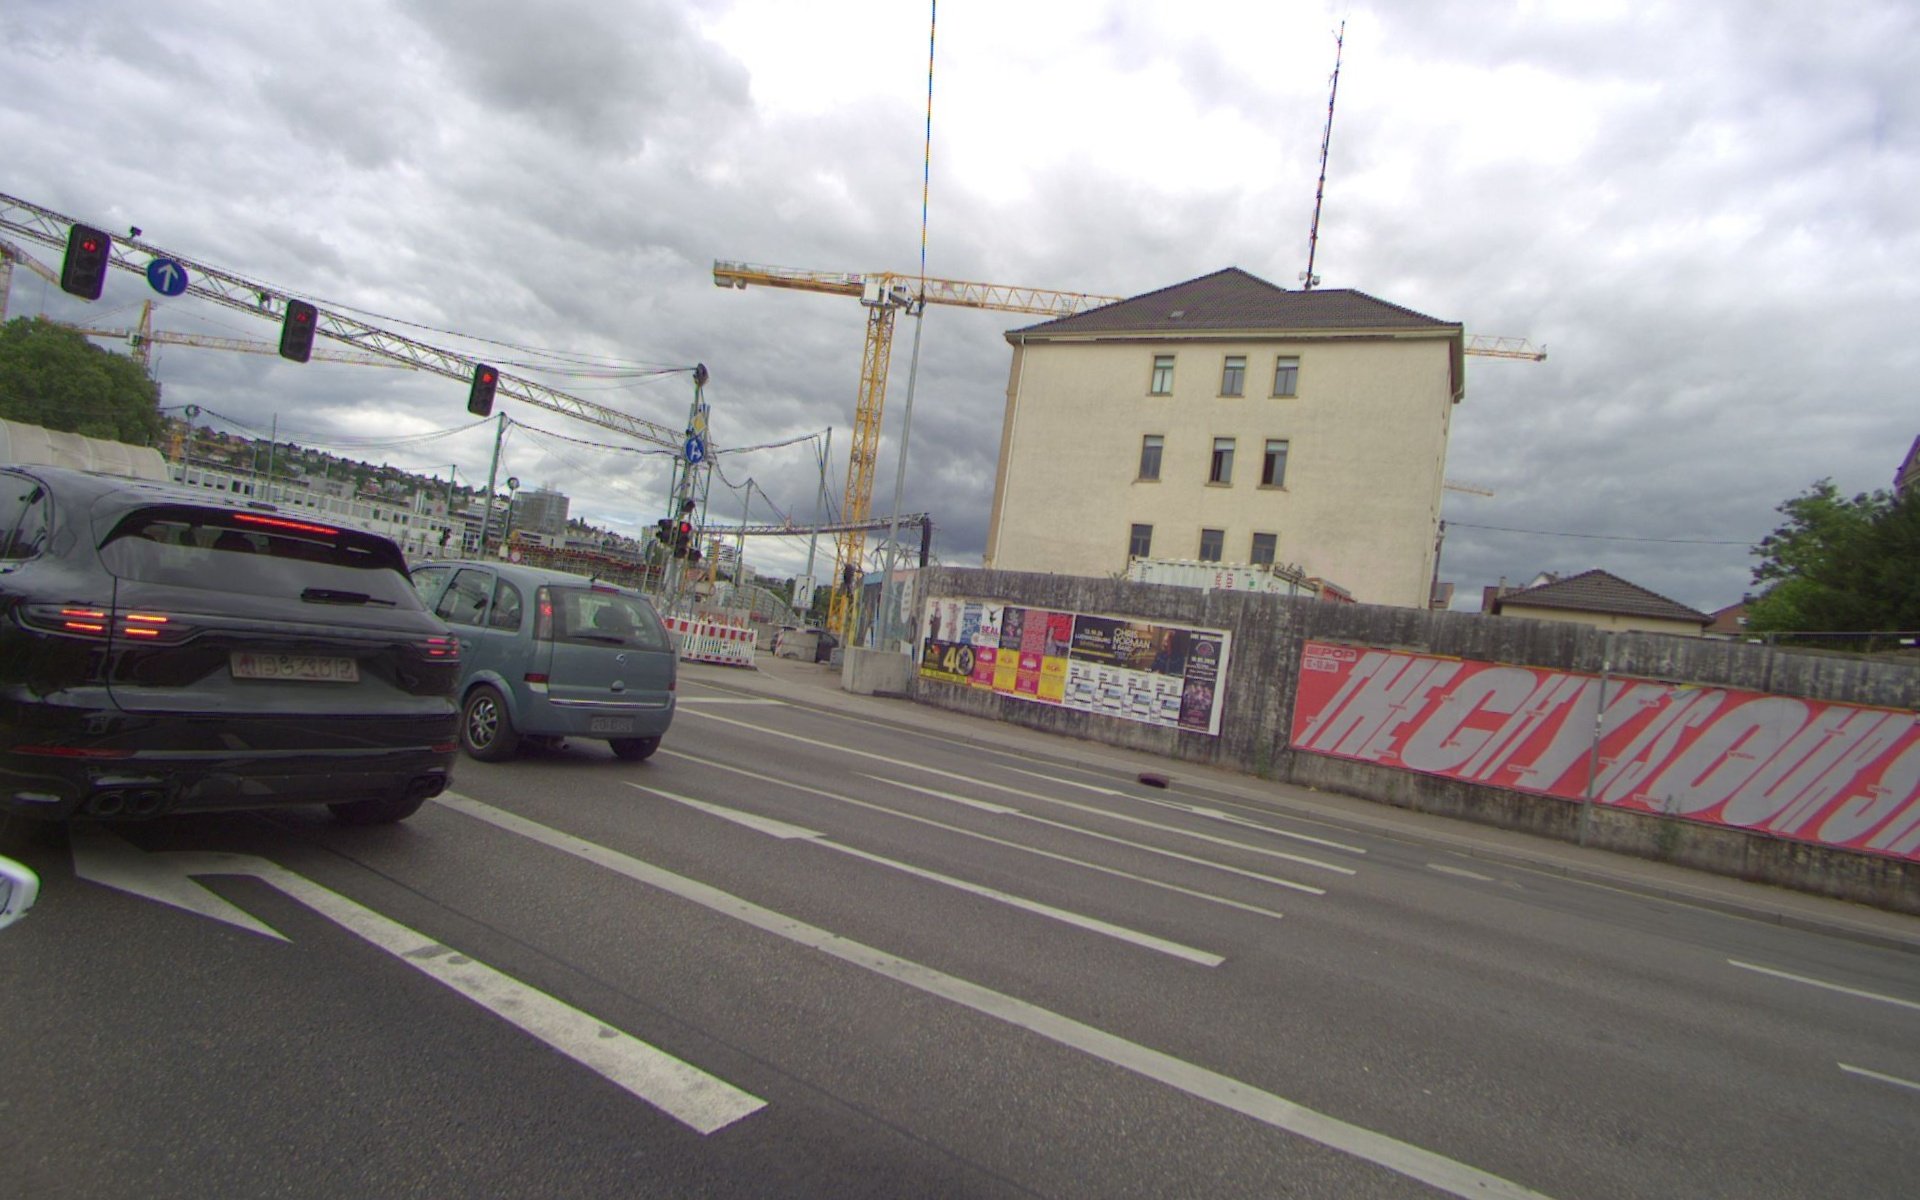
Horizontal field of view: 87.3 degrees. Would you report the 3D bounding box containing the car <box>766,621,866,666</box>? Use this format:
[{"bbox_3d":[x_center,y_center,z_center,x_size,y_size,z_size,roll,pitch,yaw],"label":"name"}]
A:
[{"bbox_3d":[-6.312,1.941,44.325,1.970,1.436,3.990,7,-3,38],"label":"car"}]

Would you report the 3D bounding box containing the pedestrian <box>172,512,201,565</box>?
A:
[{"bbox_3d":[-30.963,-2.465,40.265,0.648,2.037,0.513,8,-1,-35],"label":"pedestrian"}]

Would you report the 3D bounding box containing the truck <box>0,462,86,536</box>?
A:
[{"bbox_3d":[-63.918,-7.136,63.644,3.875,4.086,13.089,8,-2,11],"label":"truck"}]

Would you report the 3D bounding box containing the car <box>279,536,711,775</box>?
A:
[{"bbox_3d":[-4.383,0.453,9.351,3.817,1.561,1.667,7,-2,32],"label":"car"}]

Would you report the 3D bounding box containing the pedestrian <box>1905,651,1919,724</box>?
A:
[{"bbox_3d":[27.478,2.499,28.529,0.655,2.037,0.646,7,-1,26],"label":"pedestrian"}]

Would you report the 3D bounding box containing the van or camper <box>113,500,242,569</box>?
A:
[{"bbox_3d":[-35.486,-2.938,45.701,1.975,2.384,4.206,6,-3,45],"label":"van or camper"}]

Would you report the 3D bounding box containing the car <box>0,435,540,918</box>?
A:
[{"bbox_3d":[-4.714,0.151,5.570,4.558,1.705,1.960,7,-2,32],"label":"car"}]
